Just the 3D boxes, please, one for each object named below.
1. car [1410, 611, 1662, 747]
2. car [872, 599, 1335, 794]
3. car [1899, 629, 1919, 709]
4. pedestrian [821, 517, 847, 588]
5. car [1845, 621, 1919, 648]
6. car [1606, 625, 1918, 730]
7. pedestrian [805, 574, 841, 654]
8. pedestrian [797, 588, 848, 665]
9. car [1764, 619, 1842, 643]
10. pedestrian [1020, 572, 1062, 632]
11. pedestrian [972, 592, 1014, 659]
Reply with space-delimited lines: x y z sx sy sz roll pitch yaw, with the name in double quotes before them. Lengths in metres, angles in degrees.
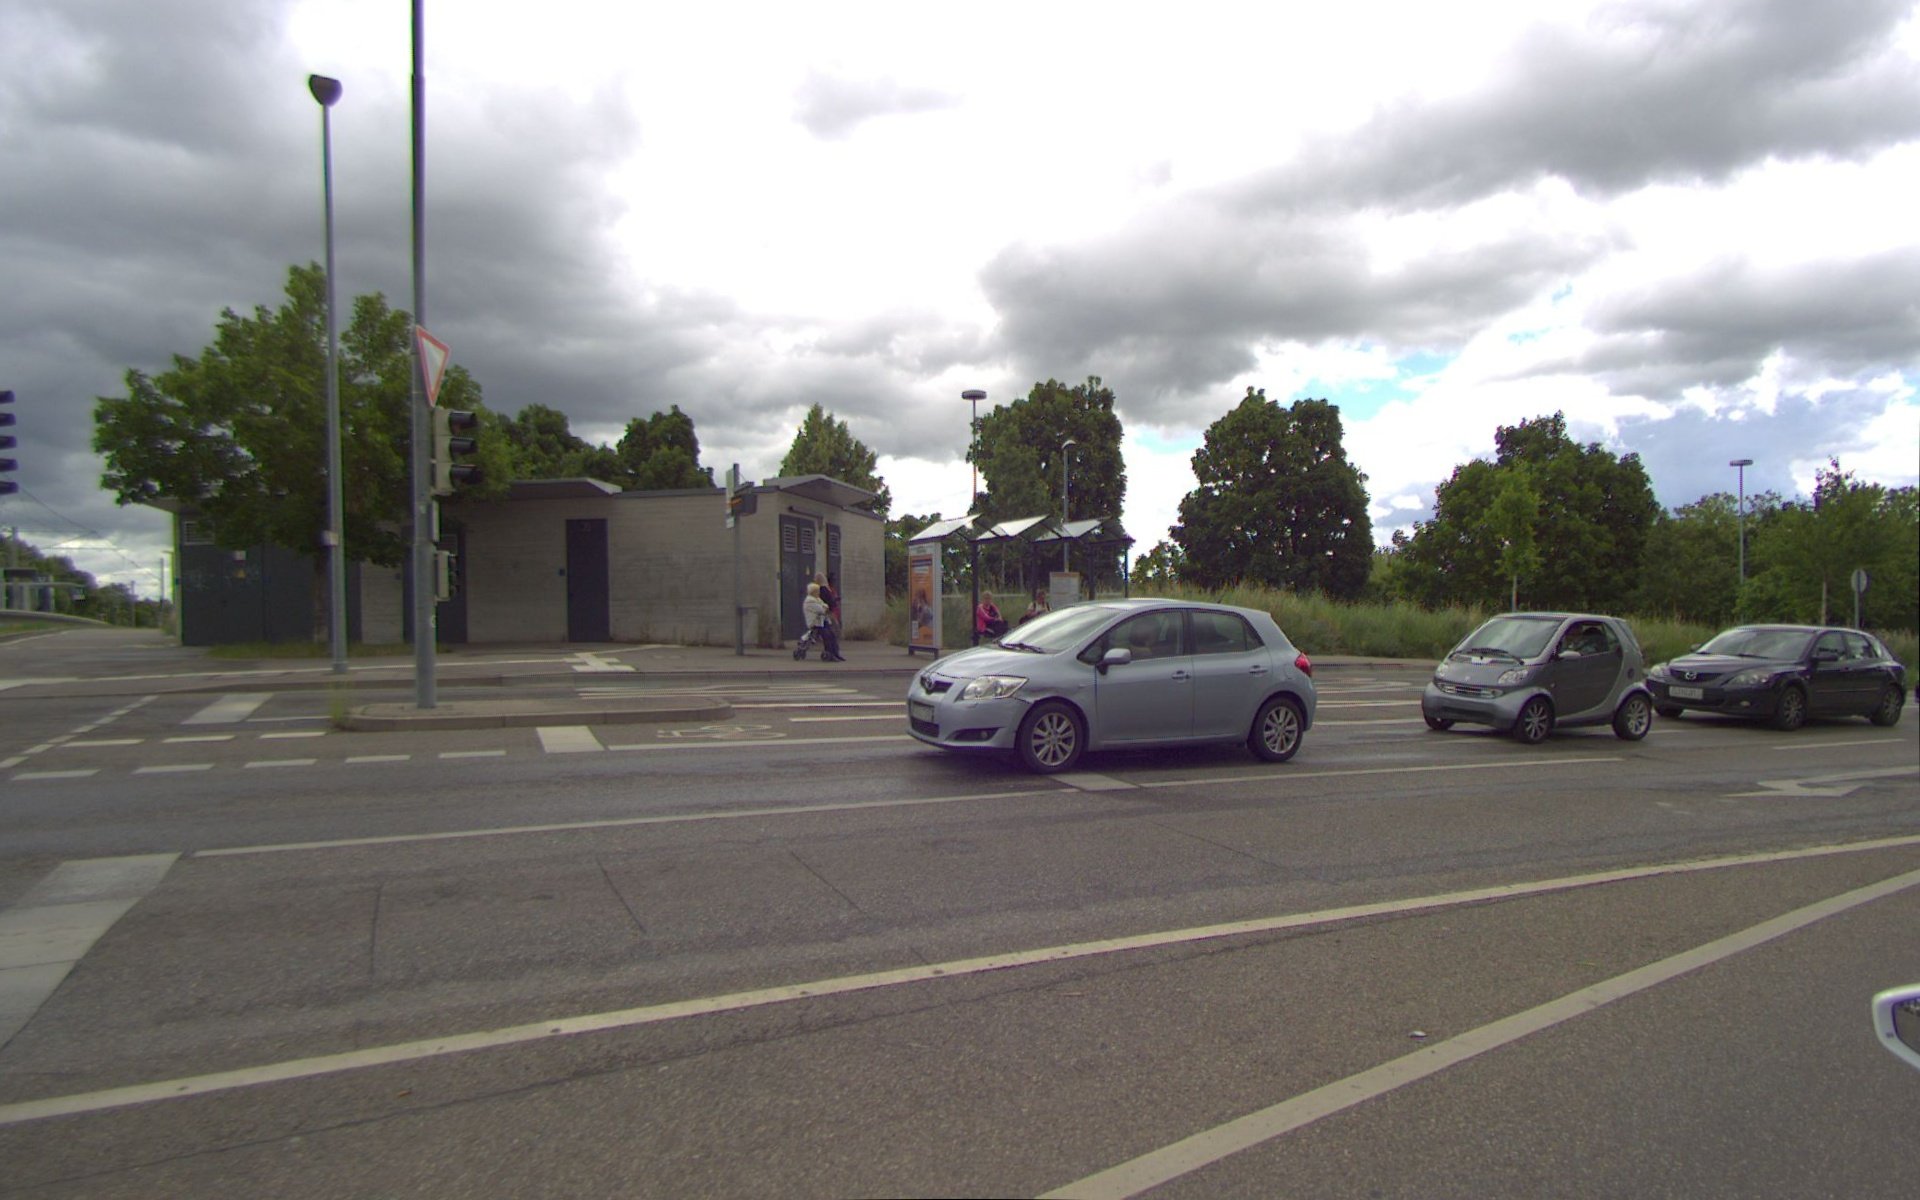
"car" 7.264 0.928 12.679 2.736 1.547 1.425 1 -1 -24
"car" 1.412 0.810 9.754 4.163 1.556 1.821 1 -1 -26
"car" 18.366 1.209 17.328 4.001 1.350 1.636 1 -1 -22
"pedestrian" -3.044 -1.135 24.300 0.420 1.692 0.551 1 0 15
"car" 78.796 2.889 85.428 1.973 2.219 4.952 1 -2 -25
"car" 11.882 1.078 14.878 4.318 1.350 1.795 1 -1 -23
"pedestrian" -2.925 0.299 21.523 0.625 1.692 0.551 1 0 6
"pedestrian" -2.516 0.475 18.358 0.765 1.382 0.546 1 0 -29
"car" 73.963 2.680 88.244 1.972 2.040 4.955 1 -1 -23
"pedestrian" 1.711 0.047 21.234 0.544 1.243 0.768 1 0 -29
"pedestrian" 0.680 0.521 20.703 0.544 1.348 0.768 1 0 -29
